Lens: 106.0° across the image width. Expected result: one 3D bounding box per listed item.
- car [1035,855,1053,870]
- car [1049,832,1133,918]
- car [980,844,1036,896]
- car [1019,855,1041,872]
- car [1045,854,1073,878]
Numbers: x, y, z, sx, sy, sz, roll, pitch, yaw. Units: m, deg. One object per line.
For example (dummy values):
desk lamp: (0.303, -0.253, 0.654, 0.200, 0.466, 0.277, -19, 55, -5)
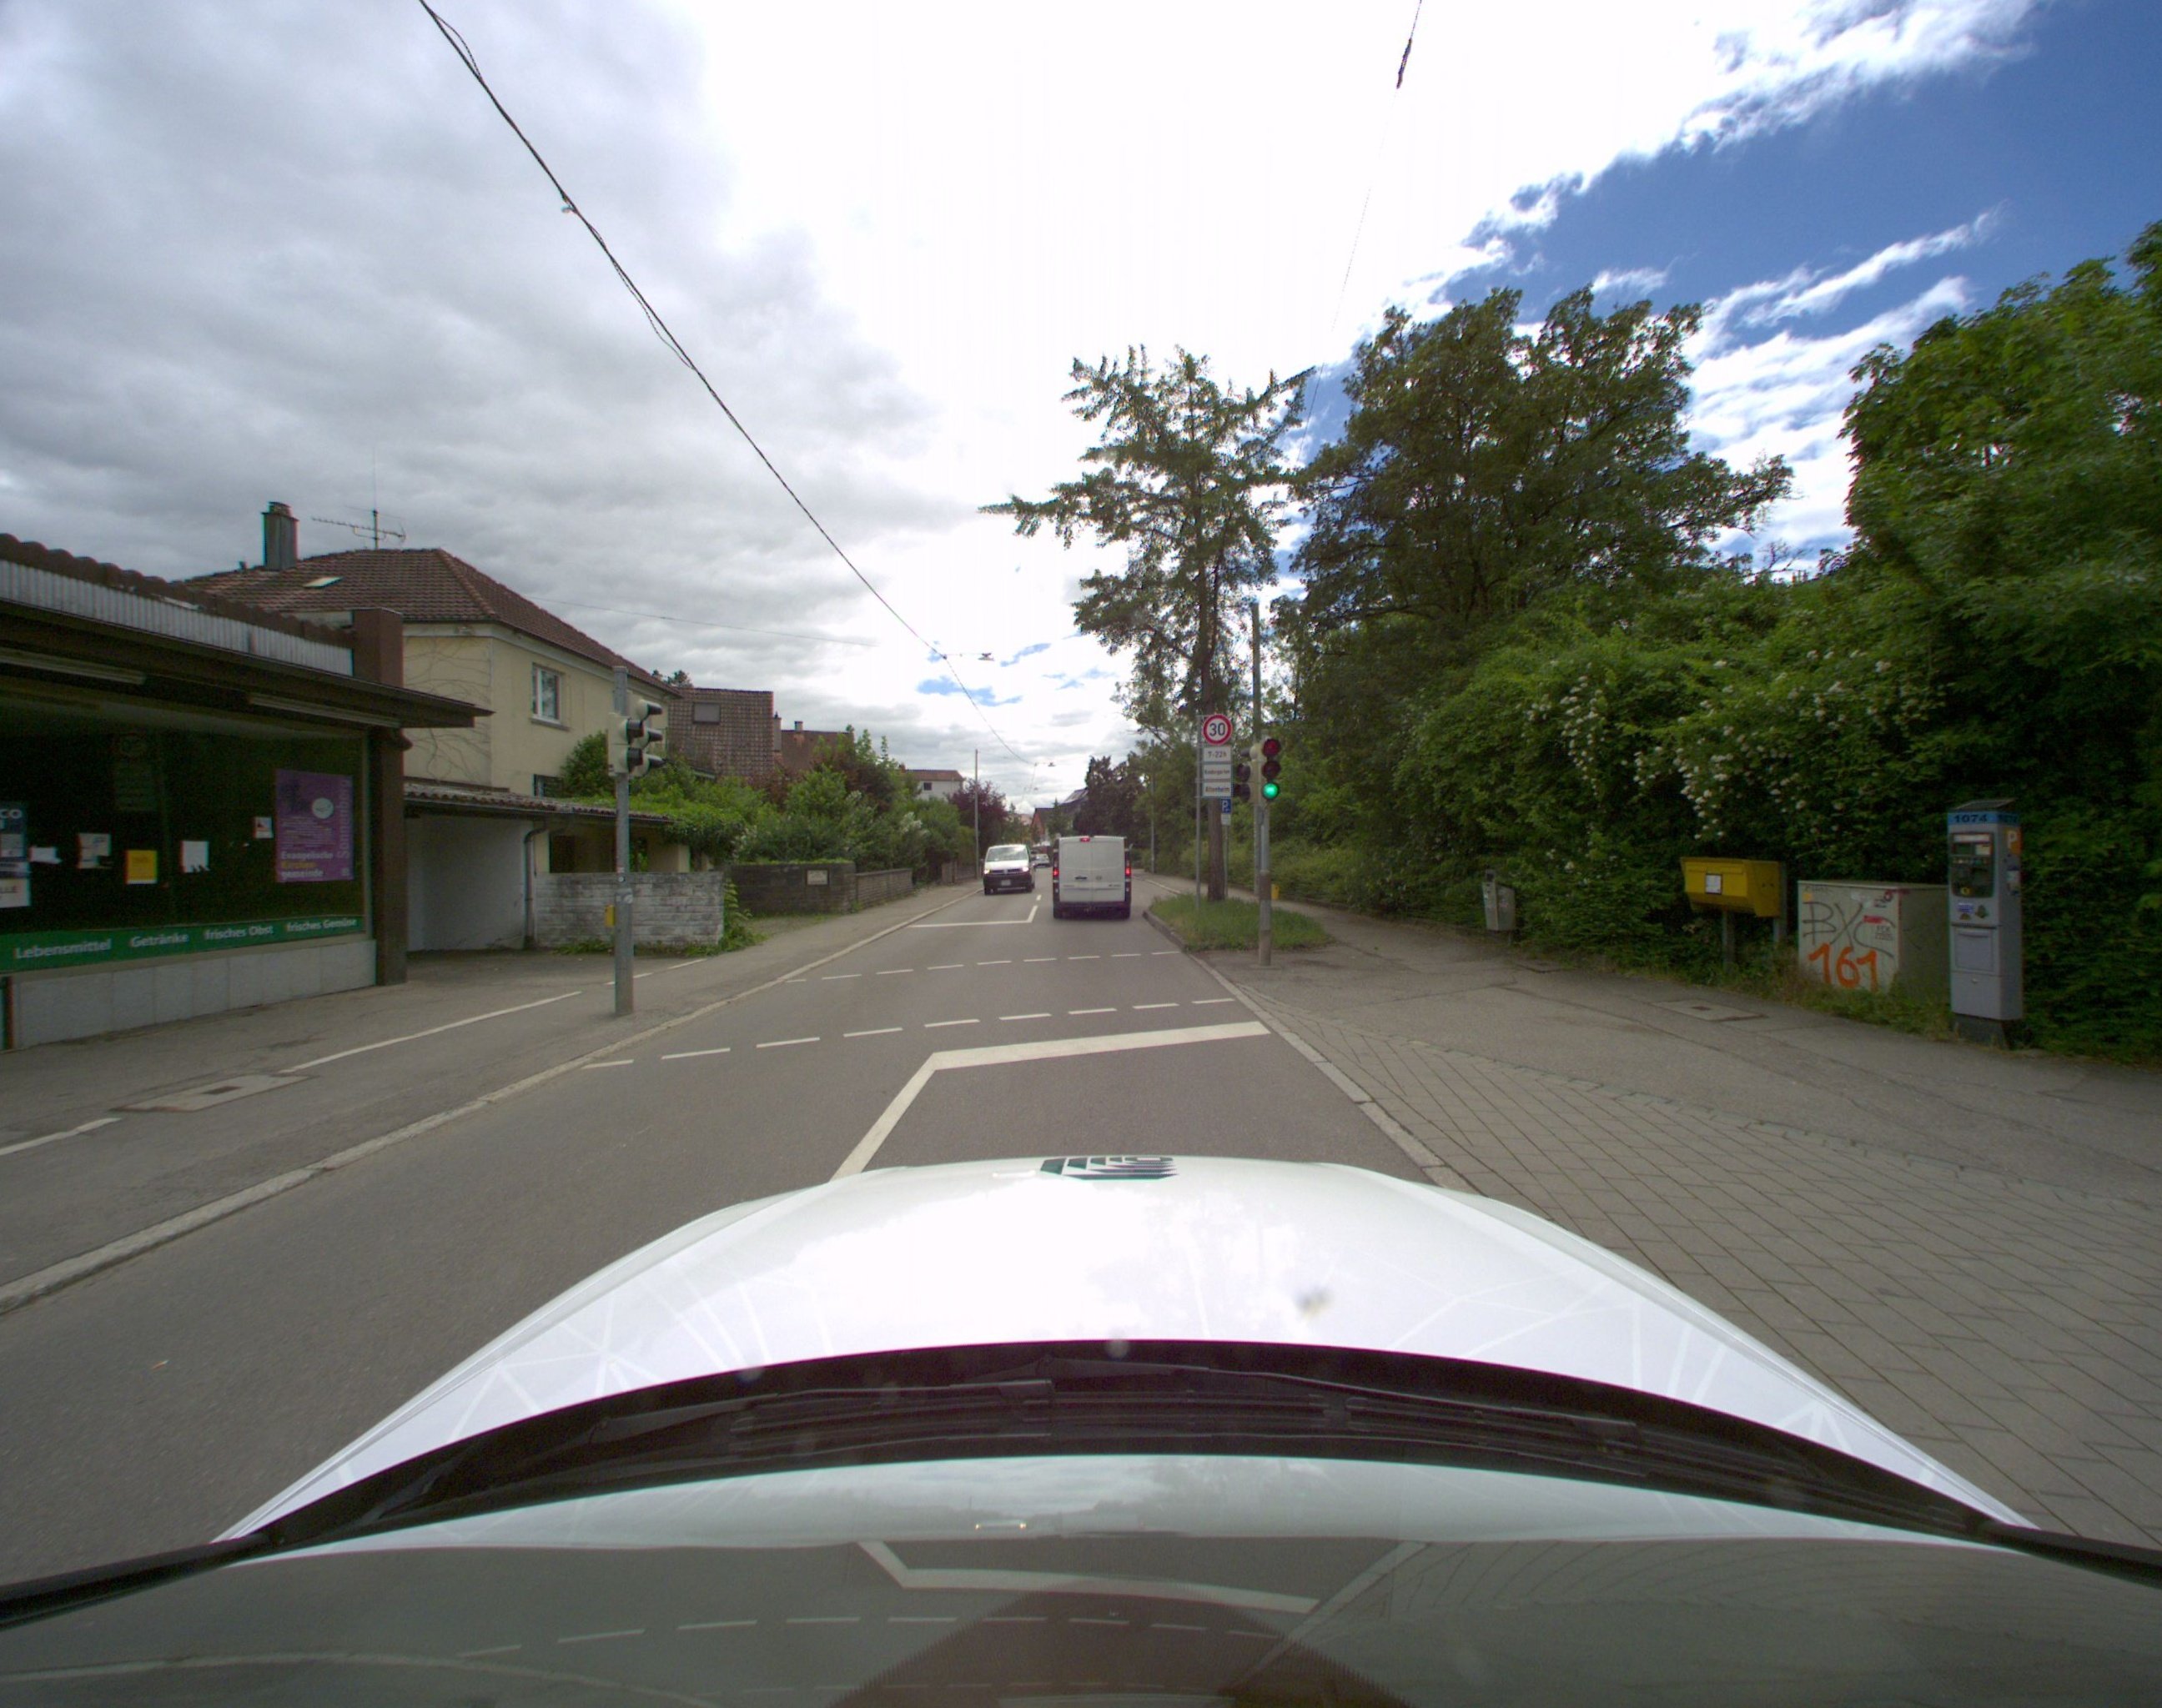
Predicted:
car: (-4.493, 1.055, 99.026, 1.824, 1.728, 3.988, 0, -1, -9)
car: (0.155, 0.493, 20.789, 1.925, 1.964, 4.397, 0, -1, -2)
car: (-2.938, 0.611, 33.839, 1.862, 1.911, 5.113, -3, 0, -1)
car: (-4.847, 0.876, 77.487, 1.881, 1.512, 4.104, -2, 0, -6)
car: (-1.722, 0.944, 65.247, 1.888, 1.860, 4.408, 0, -1, 4)
